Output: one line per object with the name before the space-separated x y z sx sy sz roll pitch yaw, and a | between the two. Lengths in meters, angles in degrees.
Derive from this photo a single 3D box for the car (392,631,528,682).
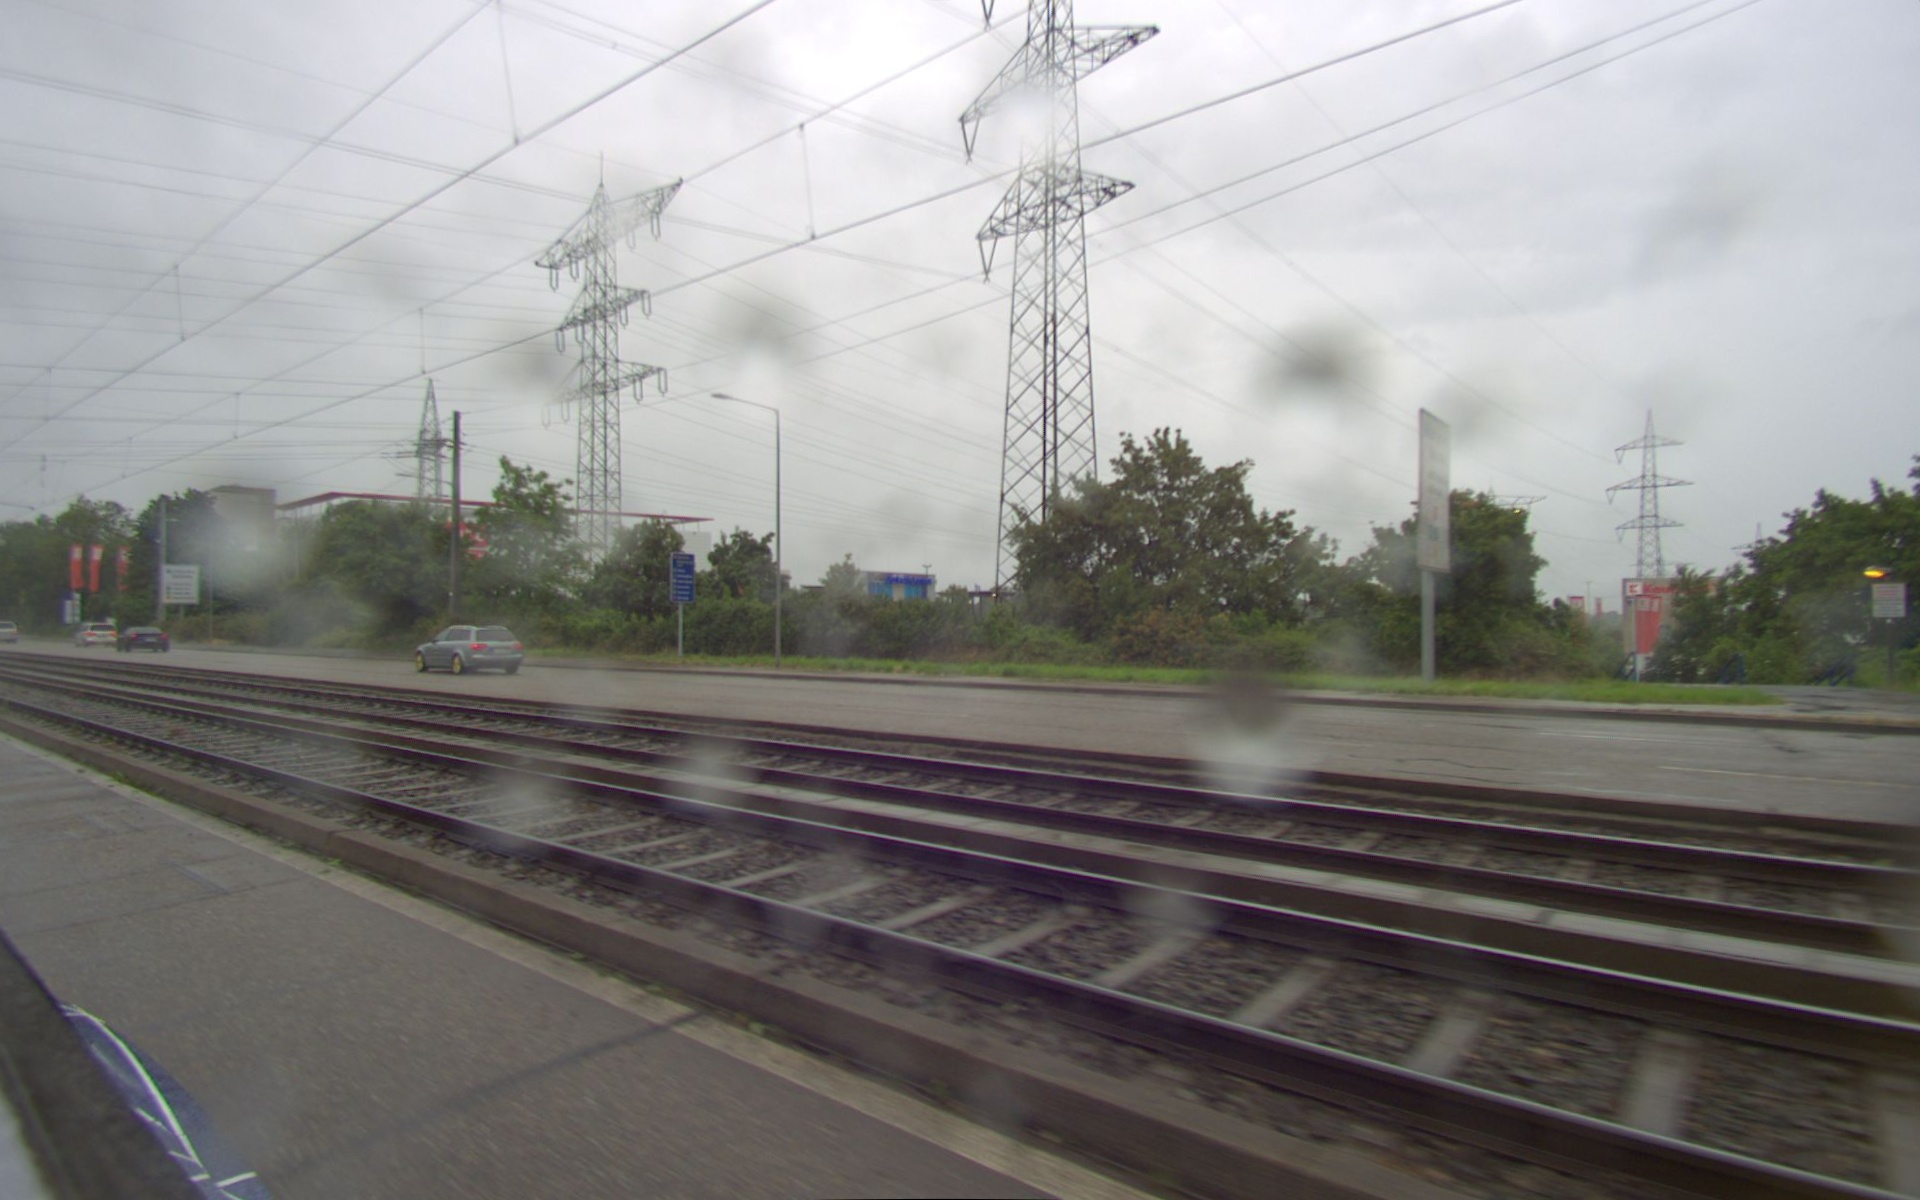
car | -15.185 1.688 30.619 5.065 1.373 1.740 -3 -1 39

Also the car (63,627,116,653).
car | -58.795 2.721 68.358 5.060 1.586 1.824 -3 -1 39

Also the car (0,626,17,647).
car | -77.933 2.963 81.817 5.130 1.647 1.807 -3 -1 39

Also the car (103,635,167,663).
car | -46.160 2.761 56.588 5.249 1.475 1.972 -3 -4 42
